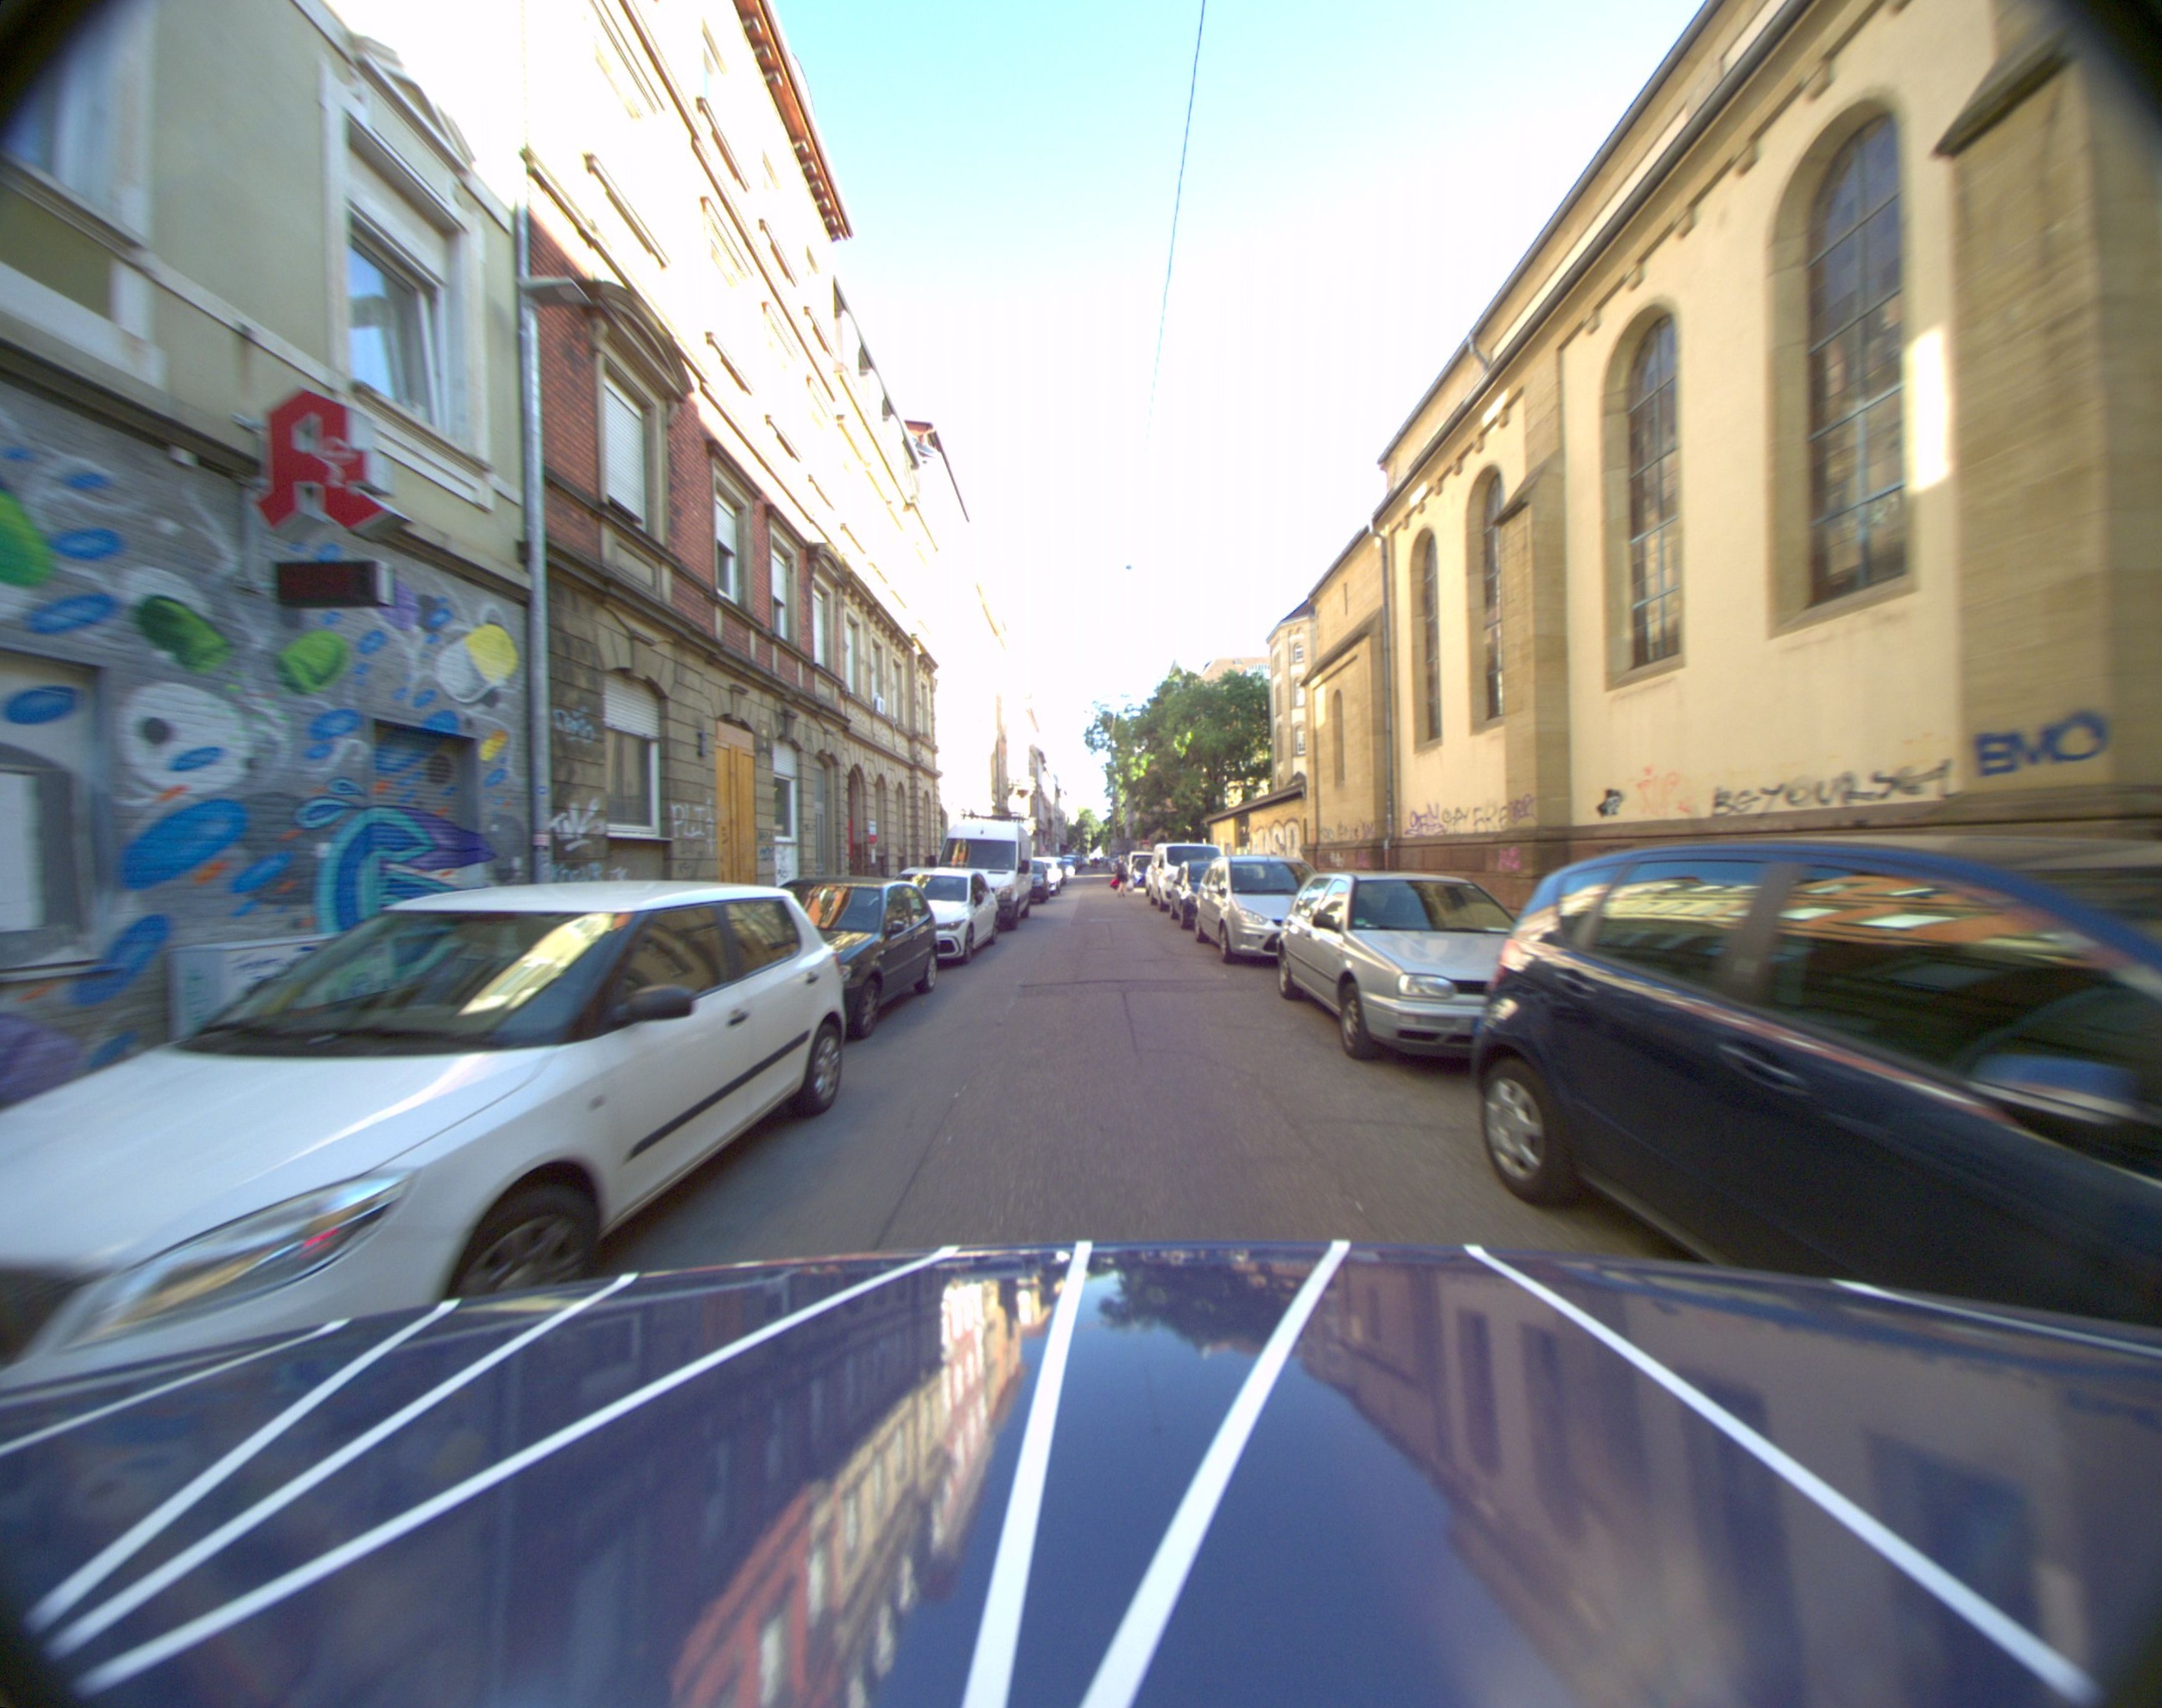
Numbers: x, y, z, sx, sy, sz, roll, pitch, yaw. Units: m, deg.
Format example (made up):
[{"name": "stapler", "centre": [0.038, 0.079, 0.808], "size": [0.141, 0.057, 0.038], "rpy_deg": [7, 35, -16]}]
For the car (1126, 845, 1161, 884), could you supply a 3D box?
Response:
[{"name": "car", "centre": [3.637, 0.602, 44.671], "size": [1.777, 2.128, 4.023], "rpy_deg": [-2, 0, 1]}]

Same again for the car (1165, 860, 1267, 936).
[{"name": "car", "centre": [2.942, 0.904, 17.252], "size": [1.696, 1.472, 3.737], "rpy_deg": [-2, 0, 1]}]

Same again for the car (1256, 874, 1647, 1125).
[{"name": "car", "centre": [2.765, 0.962, 6.769], "size": [1.576, 1.356, 4.146], "rpy_deg": [-2, 1, 3]}]

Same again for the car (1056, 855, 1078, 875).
[{"name": "car", "centre": [-1.165, 0.961, 66.651], "size": [1.696, 1.615, 3.963], "rpy_deg": [-2, 0, 1]}]

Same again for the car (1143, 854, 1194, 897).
[{"name": "car", "centre": [3.413, 0.817, 30.074], "size": [1.653, 1.557, 3.641], "rpy_deg": [-2, 0, 1]}]

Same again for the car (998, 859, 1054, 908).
[{"name": "car", "centre": [-1.973, 1.042, 28.284], "size": [1.696, 1.615, 3.813], "rpy_deg": [-2, 0, 1]}]

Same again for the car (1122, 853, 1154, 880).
[{"name": "car", "centre": [3.736, 0.792, 50.149], "size": [1.777, 1.614, 4.022], "rpy_deg": [-2, 0, 0]}]

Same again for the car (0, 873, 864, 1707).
[{"name": "car", "centre": [-2.416, 0.947, 3.332], "size": [1.558, 1.517, 4.200], "rpy_deg": [-2, 1, 1]}]

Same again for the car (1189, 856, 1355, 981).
[{"name": "car", "centre": [2.821, 0.865, 12.115], "size": [1.724, 1.558, 4.000], "rpy_deg": [-2, 1, 2]}]

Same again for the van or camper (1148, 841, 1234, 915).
[{"name": "van or camper", "centre": [3.174, 0.646, 22.791], "size": [1.984, 1.939, 4.563], "rpy_deg": [-2, 0, 1]}]

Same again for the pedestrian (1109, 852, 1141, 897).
[{"name": "pedestrian", "centre": [1.733, 0.818, 29.912], "size": [0.827, 1.703, 0.876], "rpy_deg": [-3, 0, 32]}]

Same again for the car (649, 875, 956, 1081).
[{"name": "car", "centre": [-2.598, 1.076, 8.148], "size": [1.590, 1.478, 3.913], "rpy_deg": [-2, 1, 3]}]

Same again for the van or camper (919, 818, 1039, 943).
[{"name": "van or camper", "centre": [-2.347, 0.548, 19.317], "size": [1.998, 2.617, 5.979], "rpy_deg": [-2, 1, 1]}]

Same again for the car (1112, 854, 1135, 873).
[{"name": "car", "centre": [3.810, 0.801, 68.661], "size": [1.777, 1.614, 4.022], "rpy_deg": [-2, 0, 0]}]

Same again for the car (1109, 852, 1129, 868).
[{"name": "car", "centre": [3.945, 0.600, 79.154], "size": [1.777, 1.614, 4.022], "rpy_deg": [-2, 0, 0]}]

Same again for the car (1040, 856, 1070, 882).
[{"name": "car", "centre": [-1.674, 0.943, 49.846], "size": [1.696, 1.615, 3.963], "rpy_deg": [-2, 0, 1]}]

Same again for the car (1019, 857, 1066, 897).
[{"name": "car", "centre": [-1.646, 0.983, 33.689], "size": [1.696, 1.615, 3.963], "rpy_deg": [-2, 0, 1]}]

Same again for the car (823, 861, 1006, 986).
[{"name": "car", "centre": [-2.619, 1.020, 13.182], "size": [1.998, 1.637, 4.563], "rpy_deg": [-2, 1, 1]}]

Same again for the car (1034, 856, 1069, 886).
[{"name": "car", "centre": [-1.687, 0.965, 44.579], "size": [1.696, 1.615, 3.963], "rpy_deg": [-2, 0, 1]}]

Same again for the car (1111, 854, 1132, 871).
[{"name": "car", "centre": [3.844, 0.810, 73.310], "size": [1.777, 1.614, 4.022], "rpy_deg": [-2, 0, 0]}]

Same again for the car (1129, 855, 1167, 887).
[{"name": "car", "centre": [3.420, 0.846, 39.262], "size": [1.696, 1.529, 3.813], "rpy_deg": [-2, 0, 1]}]

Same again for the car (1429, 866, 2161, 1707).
[{"name": "car", "centre": [2.613, 0.884, 1.867], "size": [1.798, 1.543, 3.834], "rpy_deg": [-2, 1, 2]}]
